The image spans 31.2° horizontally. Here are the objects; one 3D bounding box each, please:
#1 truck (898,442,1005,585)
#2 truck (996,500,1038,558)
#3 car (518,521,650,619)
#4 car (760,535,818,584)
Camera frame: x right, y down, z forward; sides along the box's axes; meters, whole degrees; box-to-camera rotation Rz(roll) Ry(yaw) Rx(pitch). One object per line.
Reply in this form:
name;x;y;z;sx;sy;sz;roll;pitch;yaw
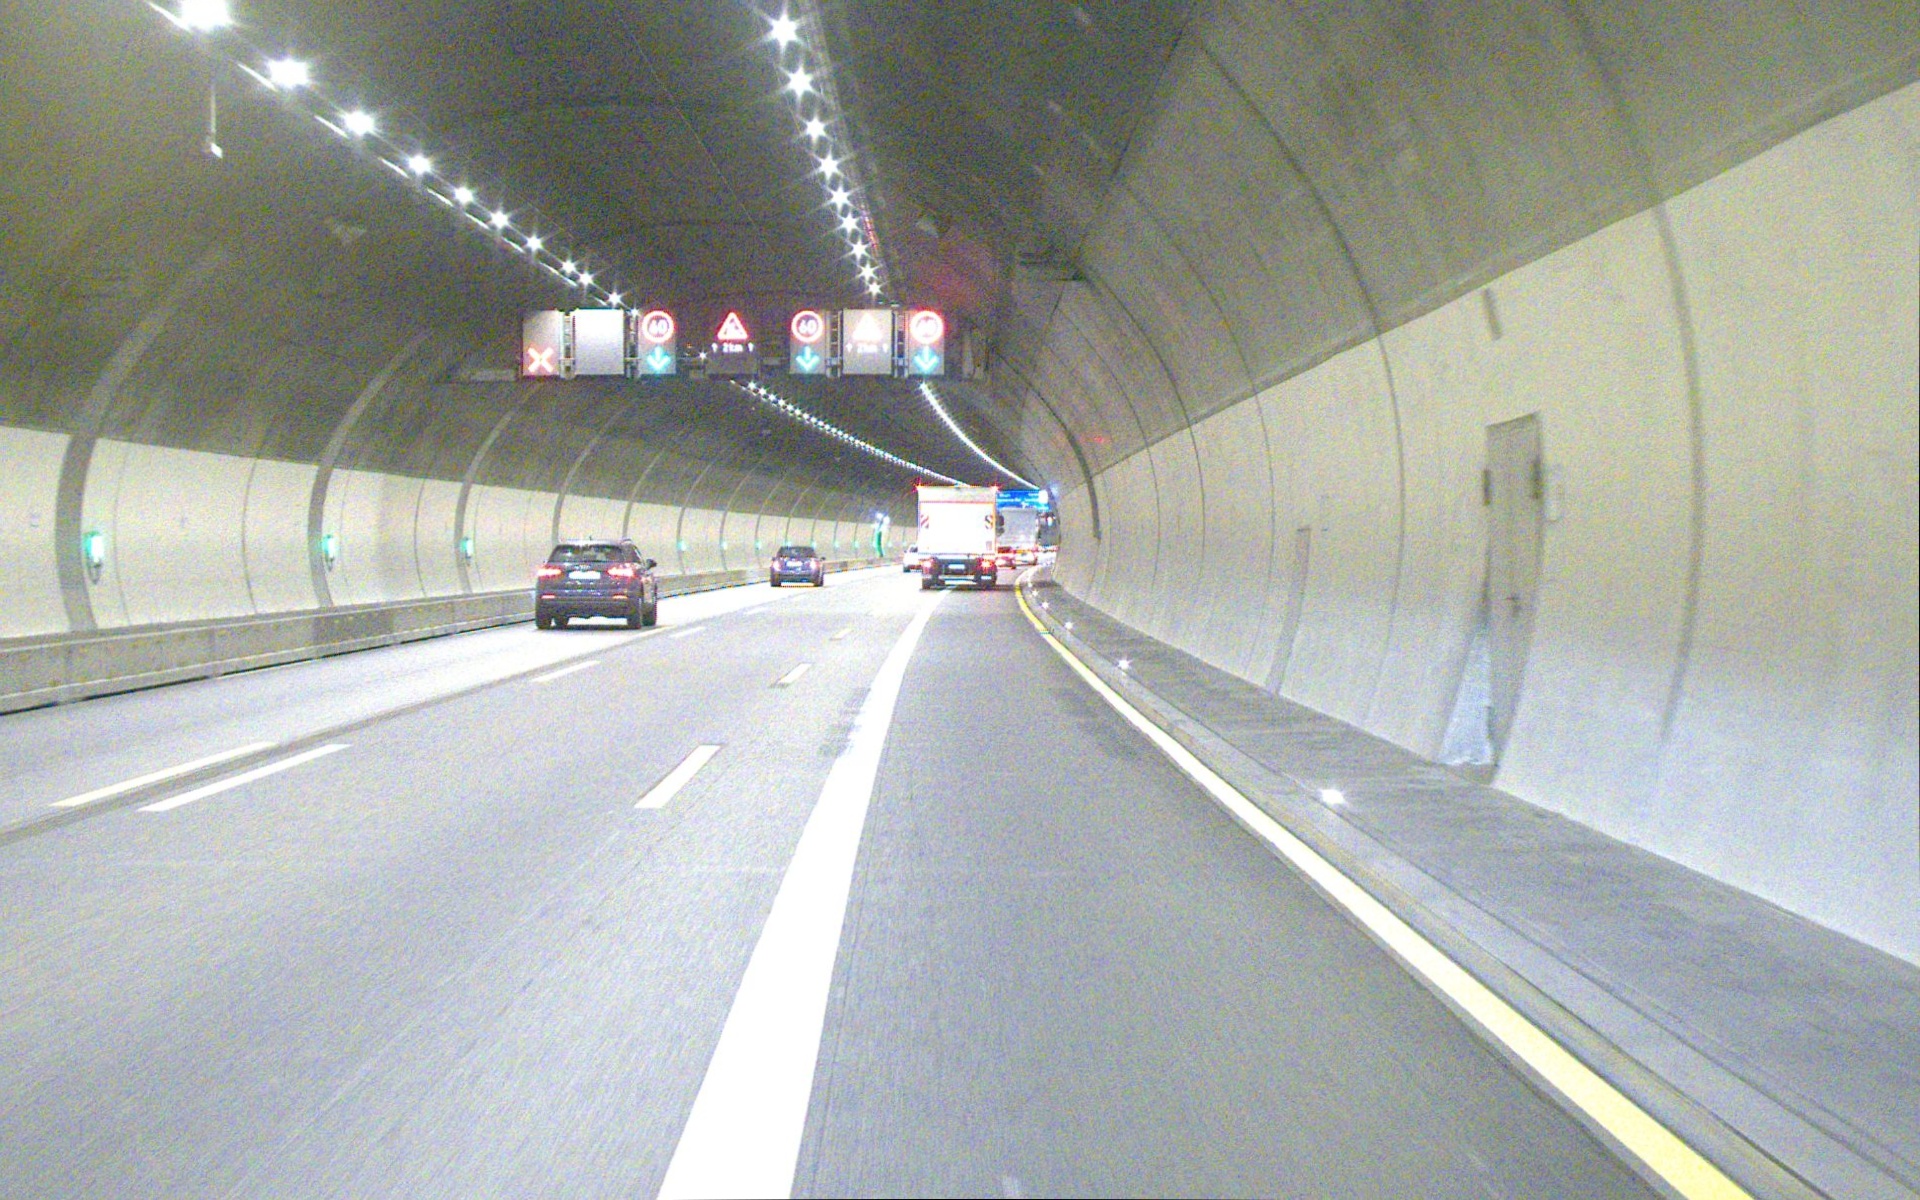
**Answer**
truck;-0.430;-2.954;120.524;3.278;4.634;17.288;0;1;-2
truck;4.169;-5.102;247.504;2.923;4.034;14.029;0;1;1
car;-6.543;-0.556;60.139;1.812;1.612;4.000;1;1;0
car;-5.859;-1.414;118.082;1.812;1.514;4.001;1;2;-1
